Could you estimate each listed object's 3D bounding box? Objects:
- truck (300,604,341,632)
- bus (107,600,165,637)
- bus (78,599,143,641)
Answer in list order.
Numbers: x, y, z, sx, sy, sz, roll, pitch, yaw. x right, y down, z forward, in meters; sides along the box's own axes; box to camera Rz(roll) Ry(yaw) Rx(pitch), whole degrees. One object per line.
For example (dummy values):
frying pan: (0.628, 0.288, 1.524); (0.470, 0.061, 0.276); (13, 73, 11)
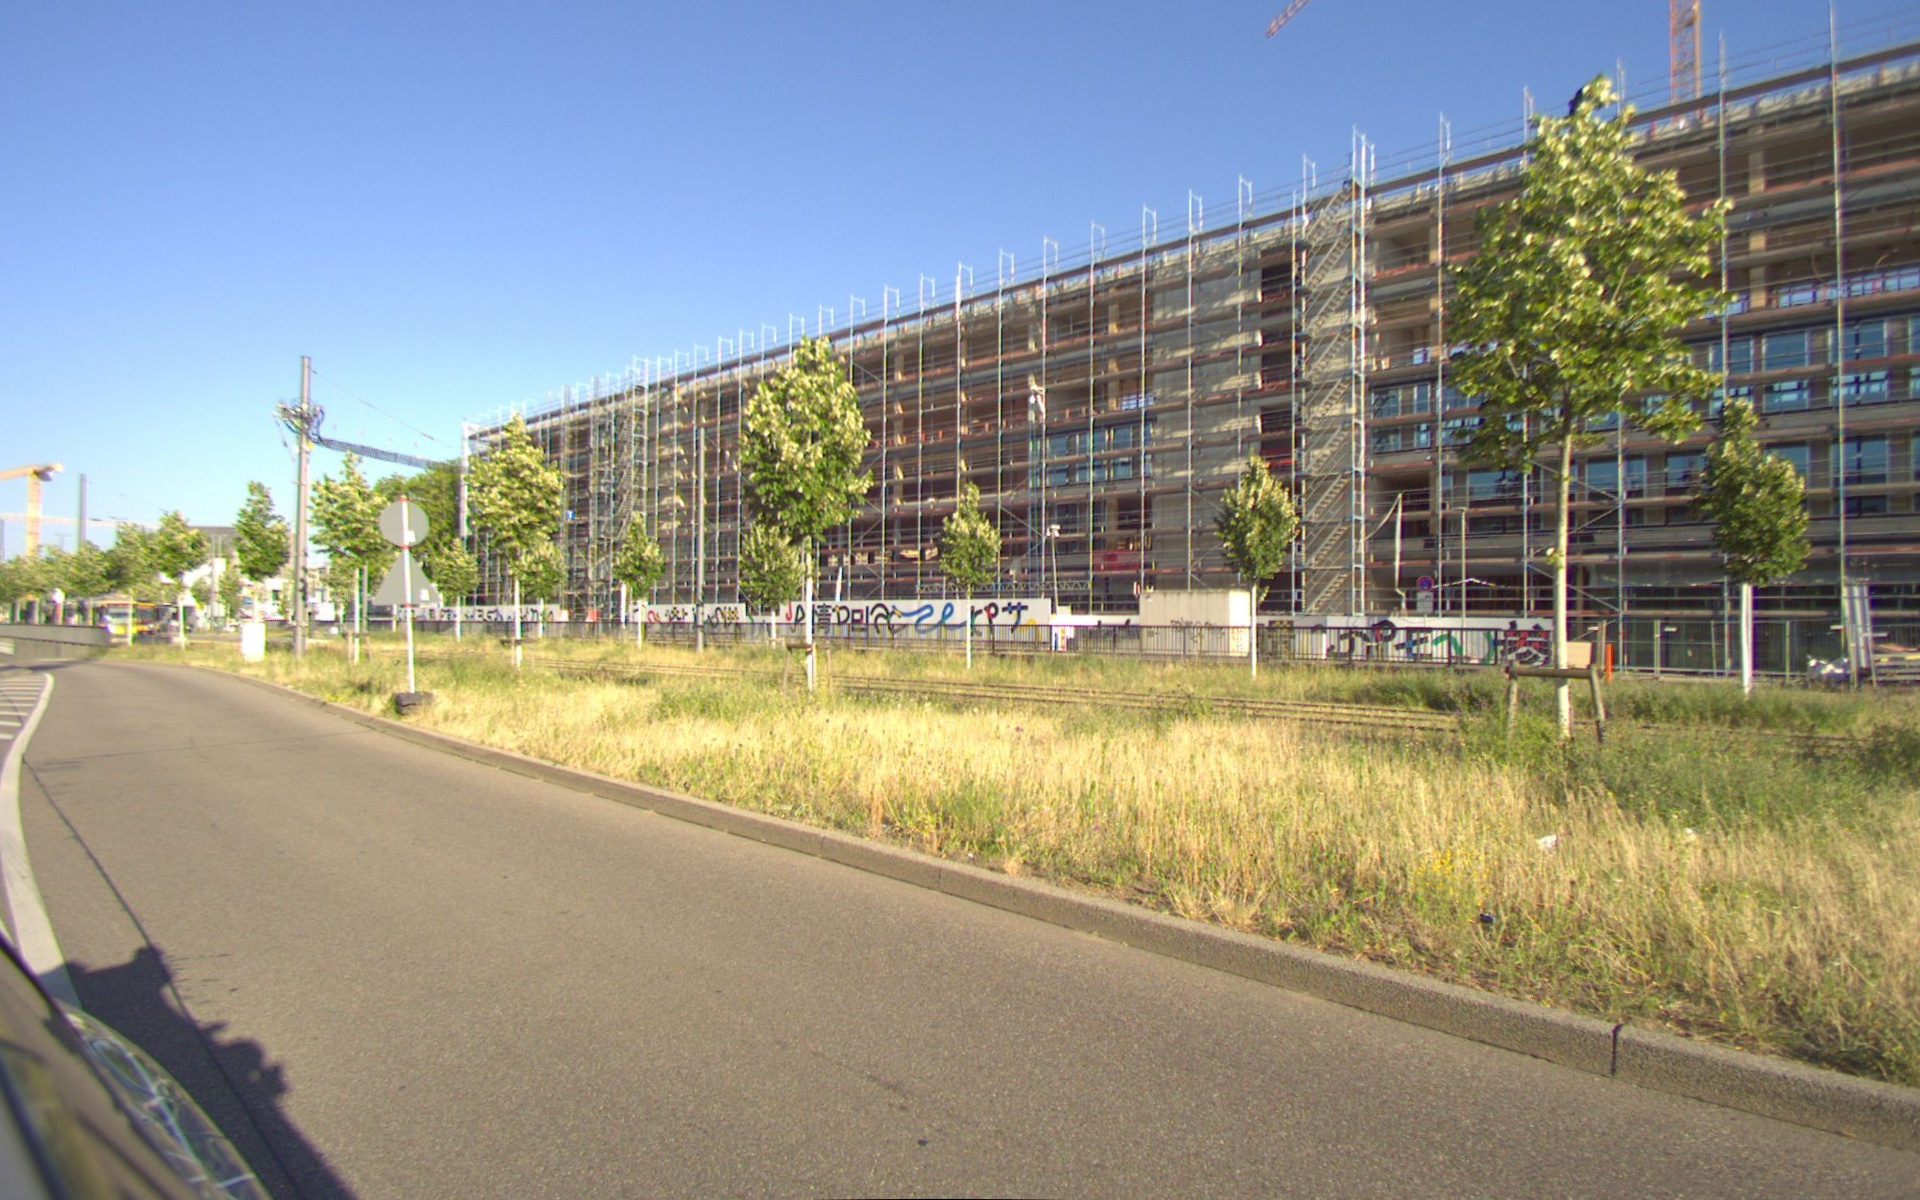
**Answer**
truck: (-60.818, 1.700, 96.180); (4.739, 2.593, 2.115); (-1, -2, 43)
bus: (-74.939, 1.723, 91.967); (8.651, 3.247, 2.688); (-1, -2, 41)
bus: (-68.483, 1.649, 81.528); (8.651, 3.247, 2.688); (-1, -2, 41)
